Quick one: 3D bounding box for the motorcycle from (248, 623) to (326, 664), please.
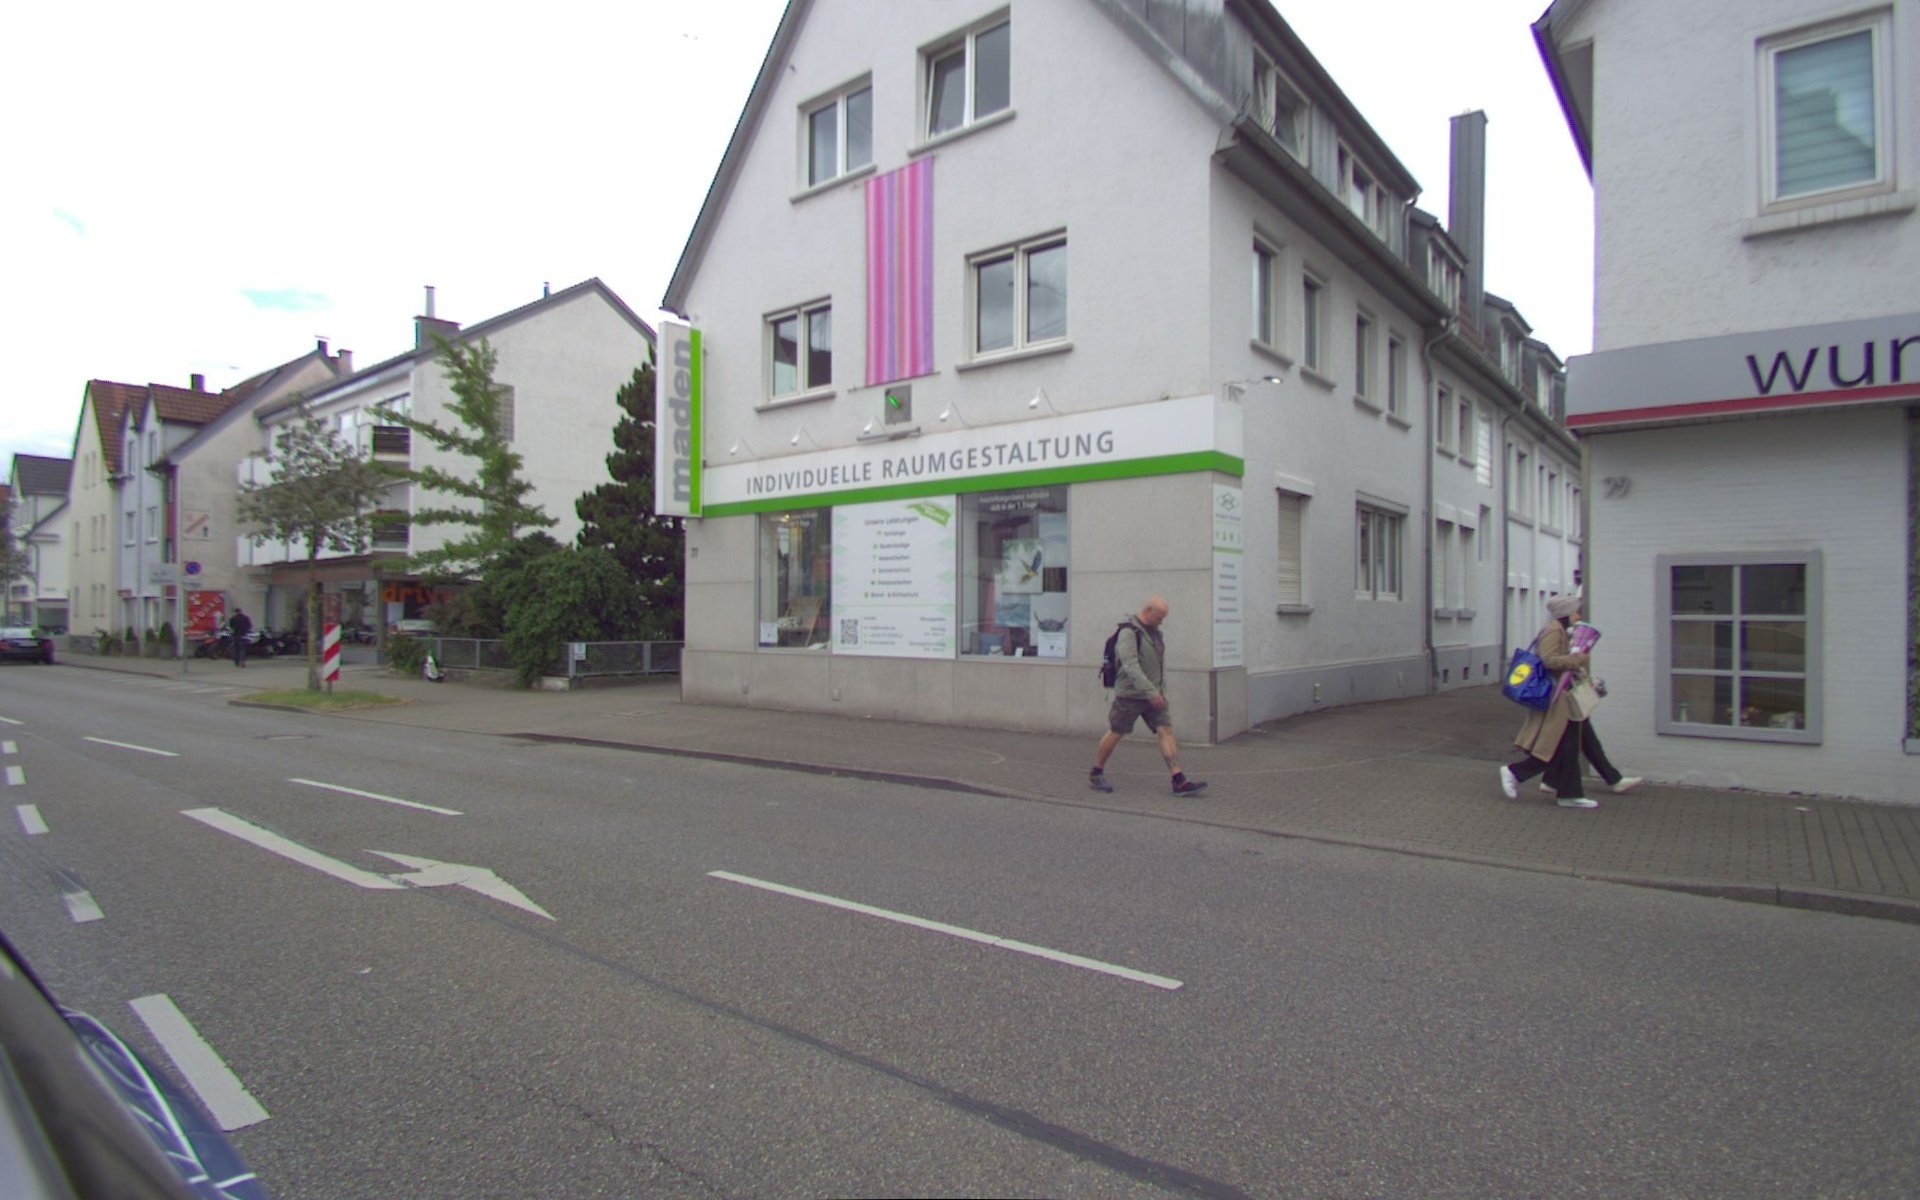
[{"bbox_3d":[-23.930,1.528,36.027,0.612,1.275,2.204,-1,1,38],"label":"motorcycle"}]

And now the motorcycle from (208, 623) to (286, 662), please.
[{"bbox_3d":[-26.143,1.533,37.154,0.698,1.275,2.204,-1,1,38],"label":"motorcycle"}]

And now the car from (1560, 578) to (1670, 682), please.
[{"bbox_3d":[18.158,0.728,27.914,1.957,2.527,5.918,2,1,38],"label":"car"}]

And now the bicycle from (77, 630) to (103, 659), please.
[{"bbox_3d":[-37.666,1.903,43.811,2.022,1.205,0.509,-1,-1,39],"label":"bicycle"}]

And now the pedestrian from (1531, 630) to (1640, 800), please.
[{"bbox_3d":[5.093,0.898,8.234,0.654,1.289,0.593,-1,0,40],"label":"pedestrian"}]

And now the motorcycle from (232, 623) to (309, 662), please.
[{"bbox_3d":[-25.231,1.539,37.071,0.612,1.275,2.204,-1,1,38],"label":"motorcycle"}]

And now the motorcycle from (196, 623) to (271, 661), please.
[{"bbox_3d":[-27.371,1.575,38.172,0.612,1.275,2.204,-1,1,38],"label":"motorcycle"}]

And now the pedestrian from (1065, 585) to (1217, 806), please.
[{"bbox_3d":[1.554,0.767,8.705,1.019,1.756,0.744,-1,1,40],"label":"pedestrian"}]

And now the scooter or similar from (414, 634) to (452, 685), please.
[{"bbox_3d":[-12.000,1.341,23.040,1.179,1.120,0.336,-1,-1,41],"label":"scooter or similar"}]

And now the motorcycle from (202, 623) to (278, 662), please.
[{"bbox_3d":[-26.817,1.564,37.719,0.612,1.275,2.204,-1,1,38],"label":"motorcycle"}]

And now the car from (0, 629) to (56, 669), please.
[{"bbox_3d":[-36.159,1.836,38.654,4.337,1.428,1.770,-1,-2,39],"label":"car"}]

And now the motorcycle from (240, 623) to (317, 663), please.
[{"bbox_3d":[-24.576,1.527,36.538,0.612,1.275,2.204,-1,1,38],"label":"motorcycle"}]

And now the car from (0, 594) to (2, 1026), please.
[{"bbox_3d":[-5.853,0.785,4.387,4.730,1.547,1.832,-1,-1,38],"label":"car"}]

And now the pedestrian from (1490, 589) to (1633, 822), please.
[{"bbox_3d":[4.586,0.751,7.709,0.792,1.629,0.744,-1,2,40],"label":"pedestrian"}]

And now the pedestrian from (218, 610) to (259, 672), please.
[{"bbox_3d":[-22.609,1.275,31.712,1.019,1.863,0.744,-1,2,40],"label":"pedestrian"}]
